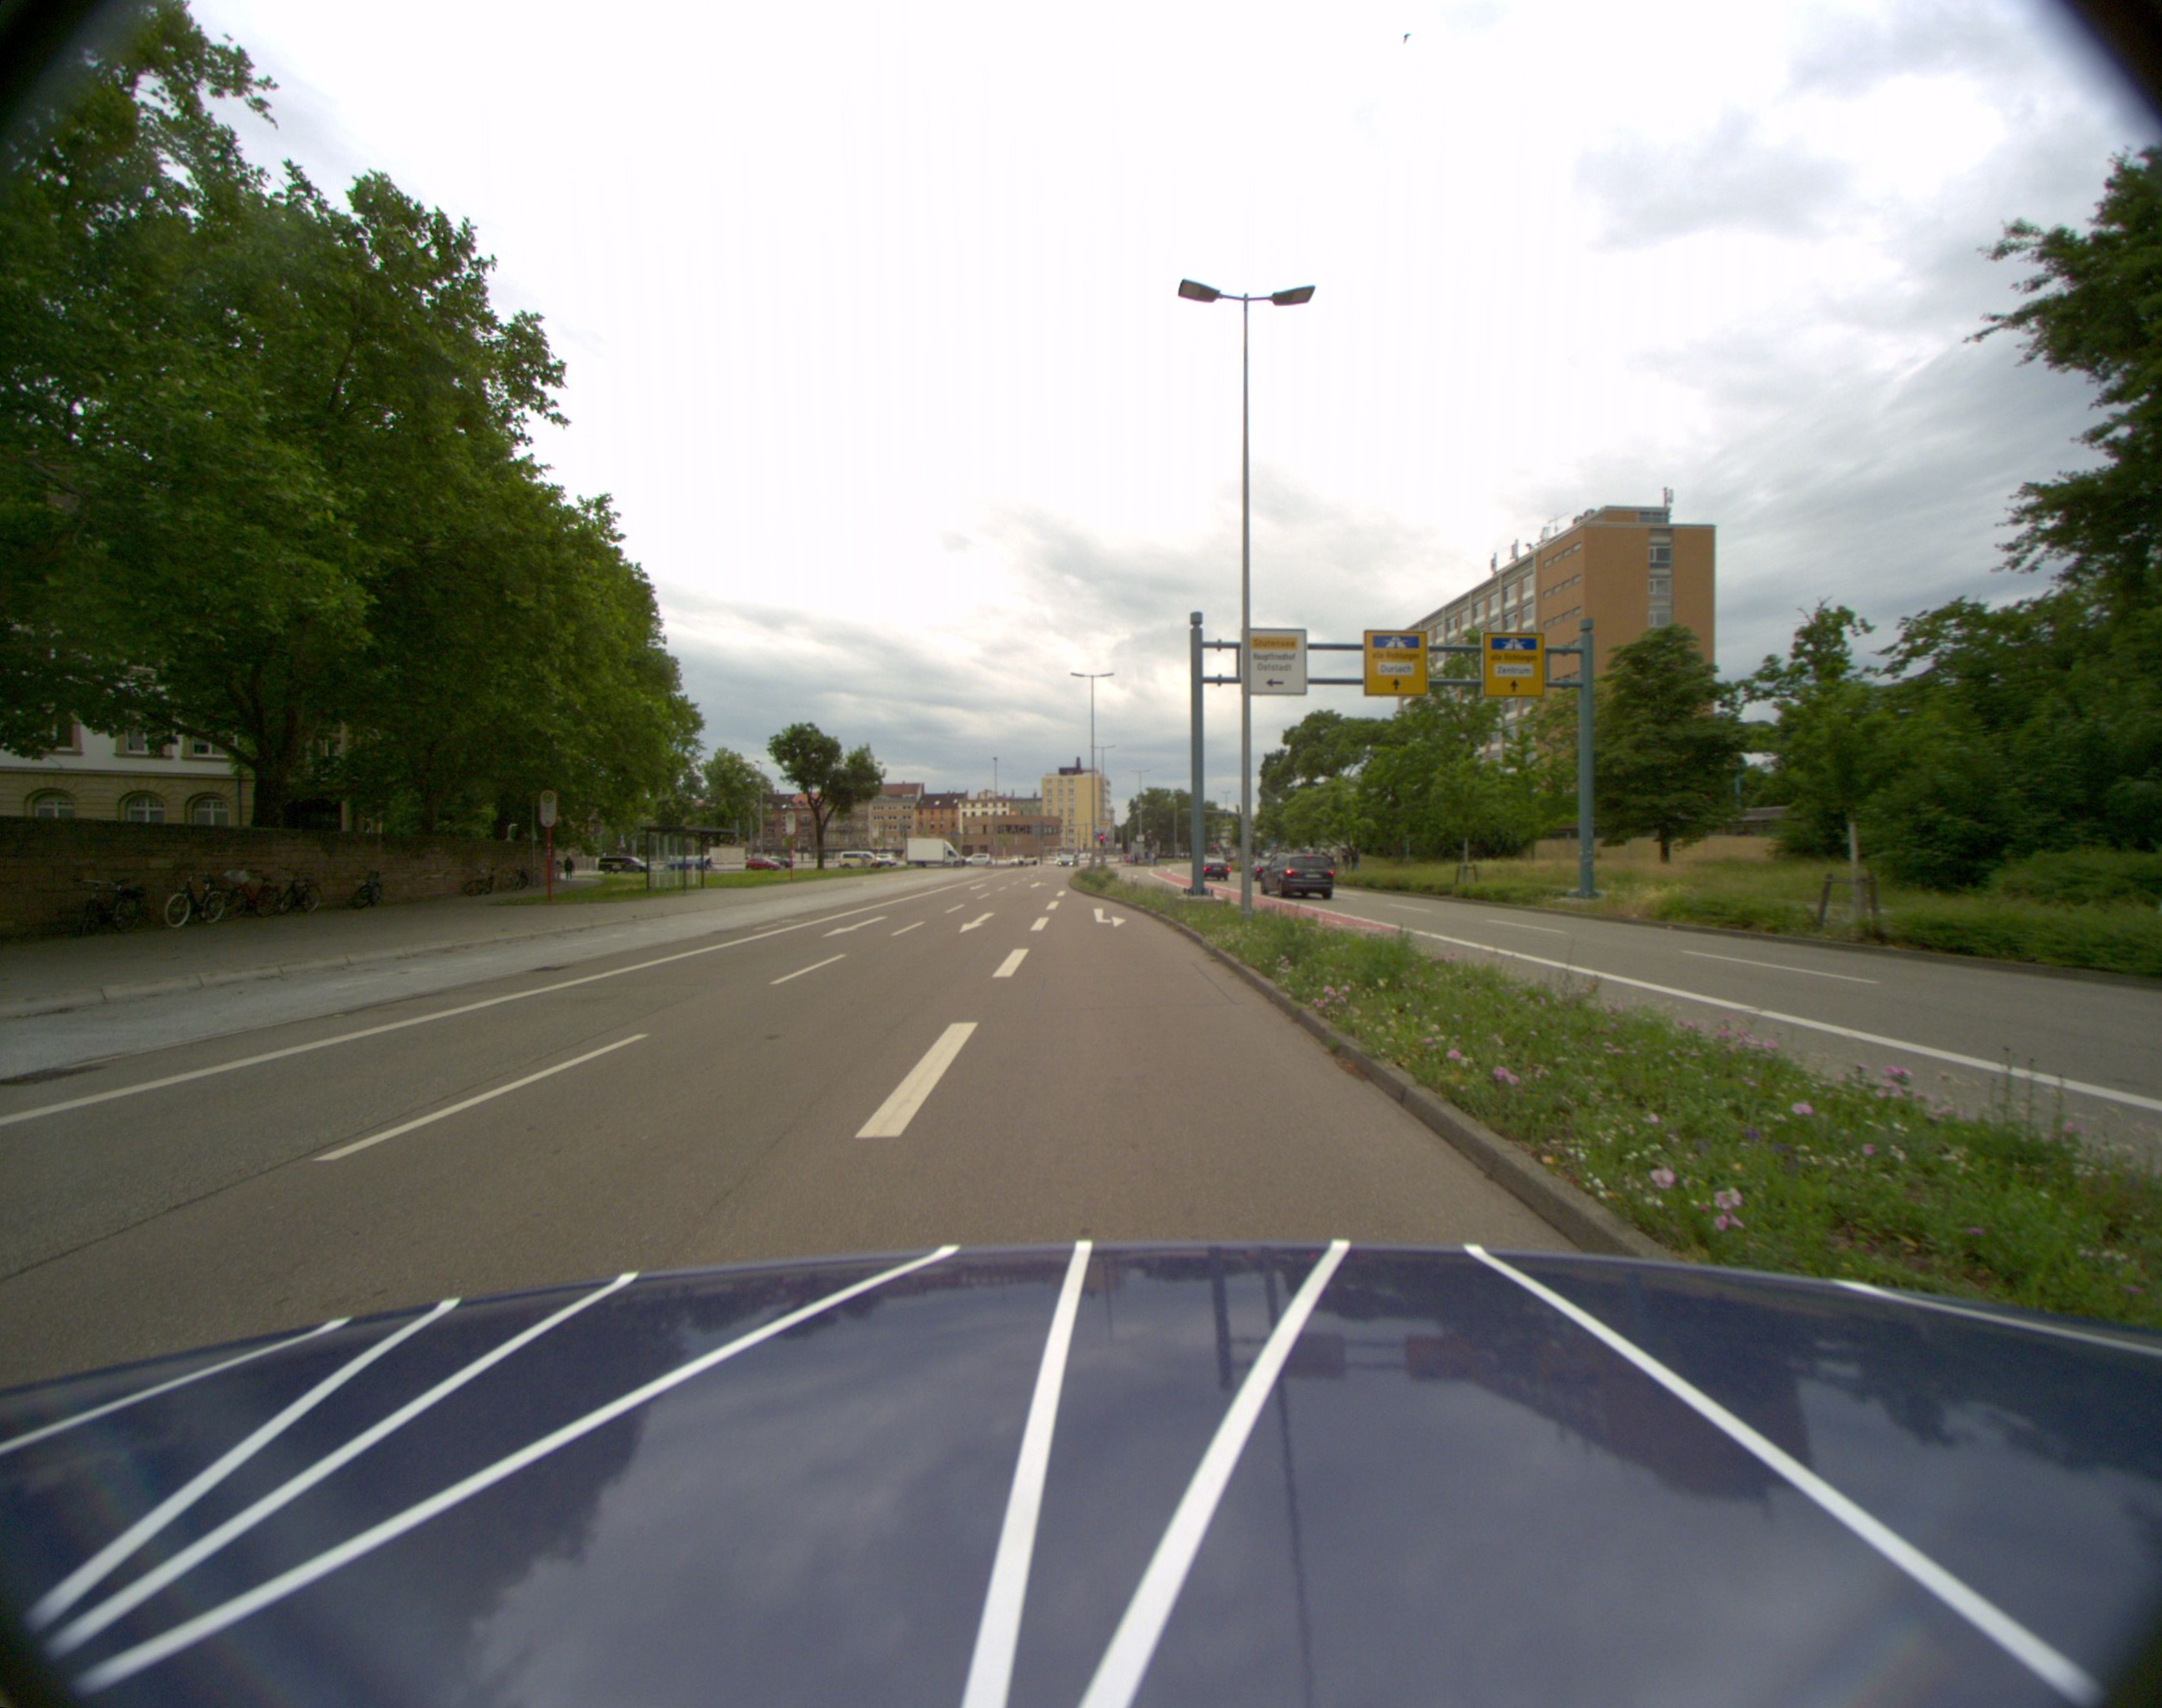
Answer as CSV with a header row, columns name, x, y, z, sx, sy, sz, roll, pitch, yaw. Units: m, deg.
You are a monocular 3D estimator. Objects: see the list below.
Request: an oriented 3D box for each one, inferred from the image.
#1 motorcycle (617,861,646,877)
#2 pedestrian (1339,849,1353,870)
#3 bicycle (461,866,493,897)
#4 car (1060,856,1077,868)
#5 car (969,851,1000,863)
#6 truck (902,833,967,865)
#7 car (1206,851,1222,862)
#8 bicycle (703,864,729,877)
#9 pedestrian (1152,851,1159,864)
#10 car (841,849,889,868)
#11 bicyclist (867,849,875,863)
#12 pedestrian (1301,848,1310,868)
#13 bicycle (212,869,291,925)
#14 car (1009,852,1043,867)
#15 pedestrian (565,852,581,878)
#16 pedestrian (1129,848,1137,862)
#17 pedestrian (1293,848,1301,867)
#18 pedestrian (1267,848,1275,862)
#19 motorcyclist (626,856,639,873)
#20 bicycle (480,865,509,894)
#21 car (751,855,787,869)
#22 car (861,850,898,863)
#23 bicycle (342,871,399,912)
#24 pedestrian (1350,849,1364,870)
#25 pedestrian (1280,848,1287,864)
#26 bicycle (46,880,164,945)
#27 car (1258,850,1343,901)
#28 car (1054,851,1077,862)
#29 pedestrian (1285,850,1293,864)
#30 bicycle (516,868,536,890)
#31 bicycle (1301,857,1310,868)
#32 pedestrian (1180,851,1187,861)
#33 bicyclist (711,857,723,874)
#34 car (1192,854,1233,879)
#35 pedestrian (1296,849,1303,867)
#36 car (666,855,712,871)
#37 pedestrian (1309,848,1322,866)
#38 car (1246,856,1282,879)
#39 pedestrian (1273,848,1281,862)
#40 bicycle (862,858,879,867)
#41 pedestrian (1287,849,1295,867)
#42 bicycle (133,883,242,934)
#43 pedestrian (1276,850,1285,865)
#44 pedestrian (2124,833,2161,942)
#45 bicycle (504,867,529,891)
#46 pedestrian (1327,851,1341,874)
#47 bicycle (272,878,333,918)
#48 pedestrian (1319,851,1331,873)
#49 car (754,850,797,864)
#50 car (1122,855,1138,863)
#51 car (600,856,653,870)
name,x,y,z,sx,sy,sz,roll,pitch,yaw
motorcycle,-48.000,1.586,81.169,2.515,1.592,0.928,1,0,-12
pedestrian,17.510,0.354,50.230,0.646,1.350,0.711,1,0,-1
bicycle,-23.675,1.060,29.807,0.596,1.129,1.709,1,0,-25
car,-1.431,0.922,87.144,1.785,1.255,3.830,-1,0,1
car,-11.713,0.311,92.008,3.435,1.382,1.516,1,0,-22
truck,-16.436,-0.551,85.564,6.852,3.393,2.559,-1,2,-5
car,22.850,0.430,130.311,1.812,1.657,3.955,1,1,23
bicycle,-39.243,1.776,81.807,2.391,1.316,0.764,1,0,-6
pedestrian,9.801,0.439,100.111,0.777,1.657,0.706,1,0,-8
car,-24.147,0.462,85.070,4.712,1.909,1.919,-1,3,-3
bicyclist,-22.864,0.264,82.678,0.740,1.499,0.767,1,0,-10
pedestrian,18.497,0.292,62.563,0.661,1.622,0.764,1,0,16
bicycle,-19.587,0.990,17.987,0.501,1.214,1.624,1,0,-17
car,-6.908,0.701,95.866,3.920,1.753,1.834,1,0,-43
pedestrian,-33.365,0.723,49.906,0.759,1.725,0.820,1,1,-39
pedestrian,6.838,0.141,99.674,0.917,1.794,0.541,1,1,17
pedestrian,17.786,0.297,62.615,0.575,1.599,0.617,1,0,16
pedestrian,23.322,0.150,93.261,0.708,1.661,0.943,-1,0,4
motorcyclist,-47.894,1.118,81.170,0.918,1.818,0.928,1,0,-12
bicycle,-24.267,1.045,31.441,0.596,1.123,1.709,1,0,-25
car,-34.843,0.879,84.831,3.431,1.372,1.288,-1,-7,-5
car,-23.900,0.329,90.163,4.032,1.466,1.819,1,0,-8
bicycle,-20.510,1.055,21.967,0.599,1.098,1.652,1,0,-19
pedestrian,18.189,0.348,50.070,0.646,1.354,0.680,1,0,-2
pedestrian,23.536,0.233,88.224,0.638,1.790,0.762,-1,0,4
bicycle,-18.458,1.066,14.424,0.722,1.093,1.788,1,0,-28
car,8.050,0.732,28.312,1.925,1.655,4.398,1,1,1
car,-2.121,0.358,104.246,1.863,1.557,4.006,1,0,19
pedestrian,21.423,0.331,78.424,0.637,1.471,0.762,1,0,4
bicycle,-26.375,1.170,36.135,0.552,0.986,1.633,1,0,-28
bicycle,18.492,0.688,62.567,0.661,0.882,1.717,1,0,16
pedestrian,21.272,0.358,157.188,0.986,2.002,0.910,1,1,43
bicyclist,-39.167,1.242,81.814,0.896,1.849,0.764,1,0,-5
car,8.301,0.765,48.339,1.768,1.452,4.791,1,1,1
pedestrian,20.458,0.347,71.186,0.579,1.702,0.763,1,0,20
car,-45.968,1.037,89.259,4.431,1.735,1.763,1,0,-7
pedestrian,21.356,0.296,69.210,0.635,1.603,0.829,-2,0,-21
car,11.586,0.857,48.271,1.611,1.373,3.809,1,0,4
pedestrian,24.076,0.097,93.349,0.708,1.661,0.890,-2,0,4
bicycle,-22.913,0.897,82.668,1.695,0.910,0.767,1,0,-10
pedestrian,19.724,0.346,71.437,0.622,1.685,0.748,1,0,20
bicycle,-19.038,1.133,16.249,0.656,0.945,1.767,1,0,-17
pedestrian,20.584,0.348,78.458,0.730,1.471,0.813,1,0,4
pedestrian,17.442,0.534,12.050,0.621,1.719,0.818,1,0,0
bicycle,-25.662,1.119,34.565,0.596,1.053,1.709,1,0,-25
pedestrian,18.926,0.624,56.765,0.709,1.663,0.767,1,0,-5
bicycle,-20.090,1.126,19.644,0.417,0.937,1.523,1,0,-17
pedestrian,18.202,0.590,56.701,0.587,1.650,0.720,1,0,-5
car,-35.685,0.351,88.861,4.282,1.628,1.690,1,0,2
car,8.479,0.821,130.804,1.782,1.255,3.536,-1,1,19
car,-49.421,1.008,82.683,4.531,1.405,1.897,1,0,-13
